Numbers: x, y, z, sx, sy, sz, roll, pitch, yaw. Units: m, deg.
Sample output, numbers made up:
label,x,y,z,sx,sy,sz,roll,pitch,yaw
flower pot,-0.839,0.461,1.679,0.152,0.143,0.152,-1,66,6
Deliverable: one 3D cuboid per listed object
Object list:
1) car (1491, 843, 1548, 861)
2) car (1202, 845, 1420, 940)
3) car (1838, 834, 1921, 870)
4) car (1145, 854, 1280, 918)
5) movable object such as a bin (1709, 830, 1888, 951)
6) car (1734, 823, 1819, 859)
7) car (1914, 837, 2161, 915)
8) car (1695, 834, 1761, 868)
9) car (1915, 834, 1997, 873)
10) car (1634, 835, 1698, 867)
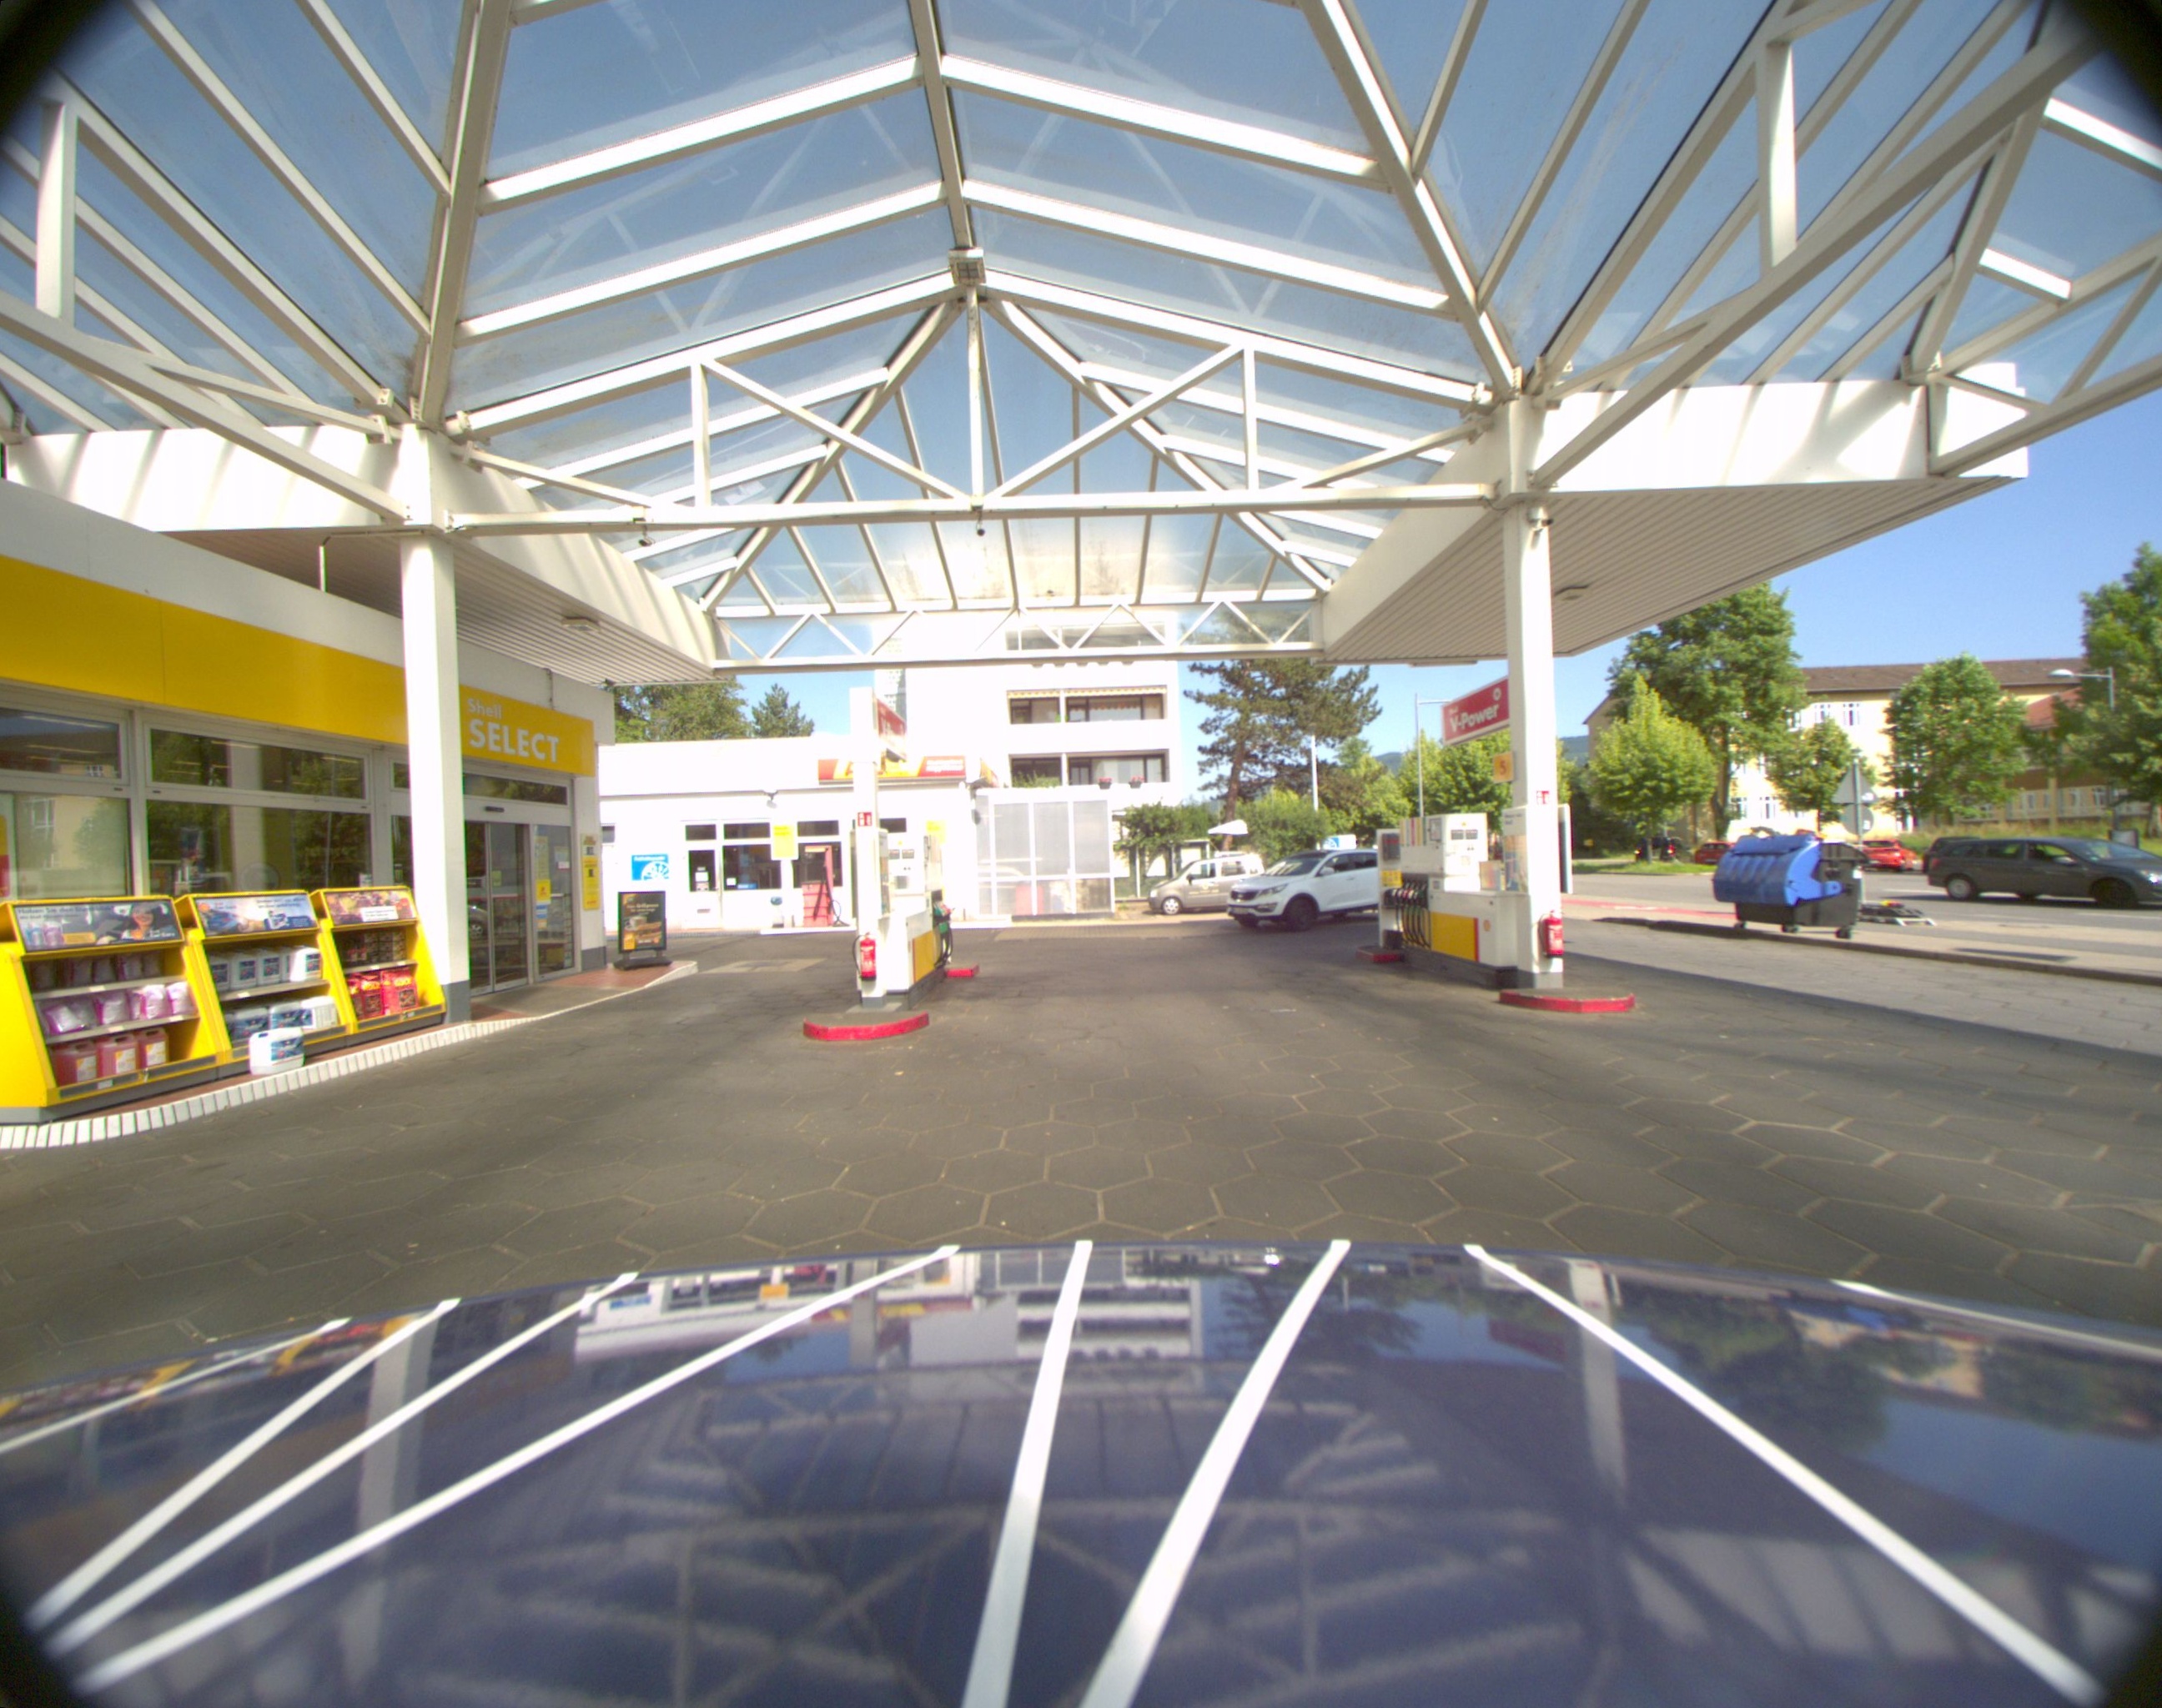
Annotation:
label,x,y,z,sx,sy,sz,roll,pitch,yaw
car,34.410,-0.187,59.697,3.729,1.383,1.878,0,1,-18
car,5.066,0.769,16.702,4.312,1.696,1.958,-3,0,-25
car,34.485,-0.101,32.791,4.234,1.451,1.876,-1,1,-36
car,3.808,0.910,22.461,3.659,1.607,1.692,-3,0,1
movable object such as a bin,10.477,0.500,11.182,1.342,1.678,1.337,0,1,1
car,34.702,-0.629,37.918,4.232,1.712,1.877,-1,1,-29
car,21.544,0.408,16.680,1.569,1.459,4.377,-3,0,-2
car,34.487,-0.175,40.463,4.234,1.712,1.876,-1,1,-39
car,34.656,-0.027,30.073,4.234,1.451,1.737,0,0,-36
car,32.709,-0.190,42.478,4.234,1.712,1.876,-1,1,-39
